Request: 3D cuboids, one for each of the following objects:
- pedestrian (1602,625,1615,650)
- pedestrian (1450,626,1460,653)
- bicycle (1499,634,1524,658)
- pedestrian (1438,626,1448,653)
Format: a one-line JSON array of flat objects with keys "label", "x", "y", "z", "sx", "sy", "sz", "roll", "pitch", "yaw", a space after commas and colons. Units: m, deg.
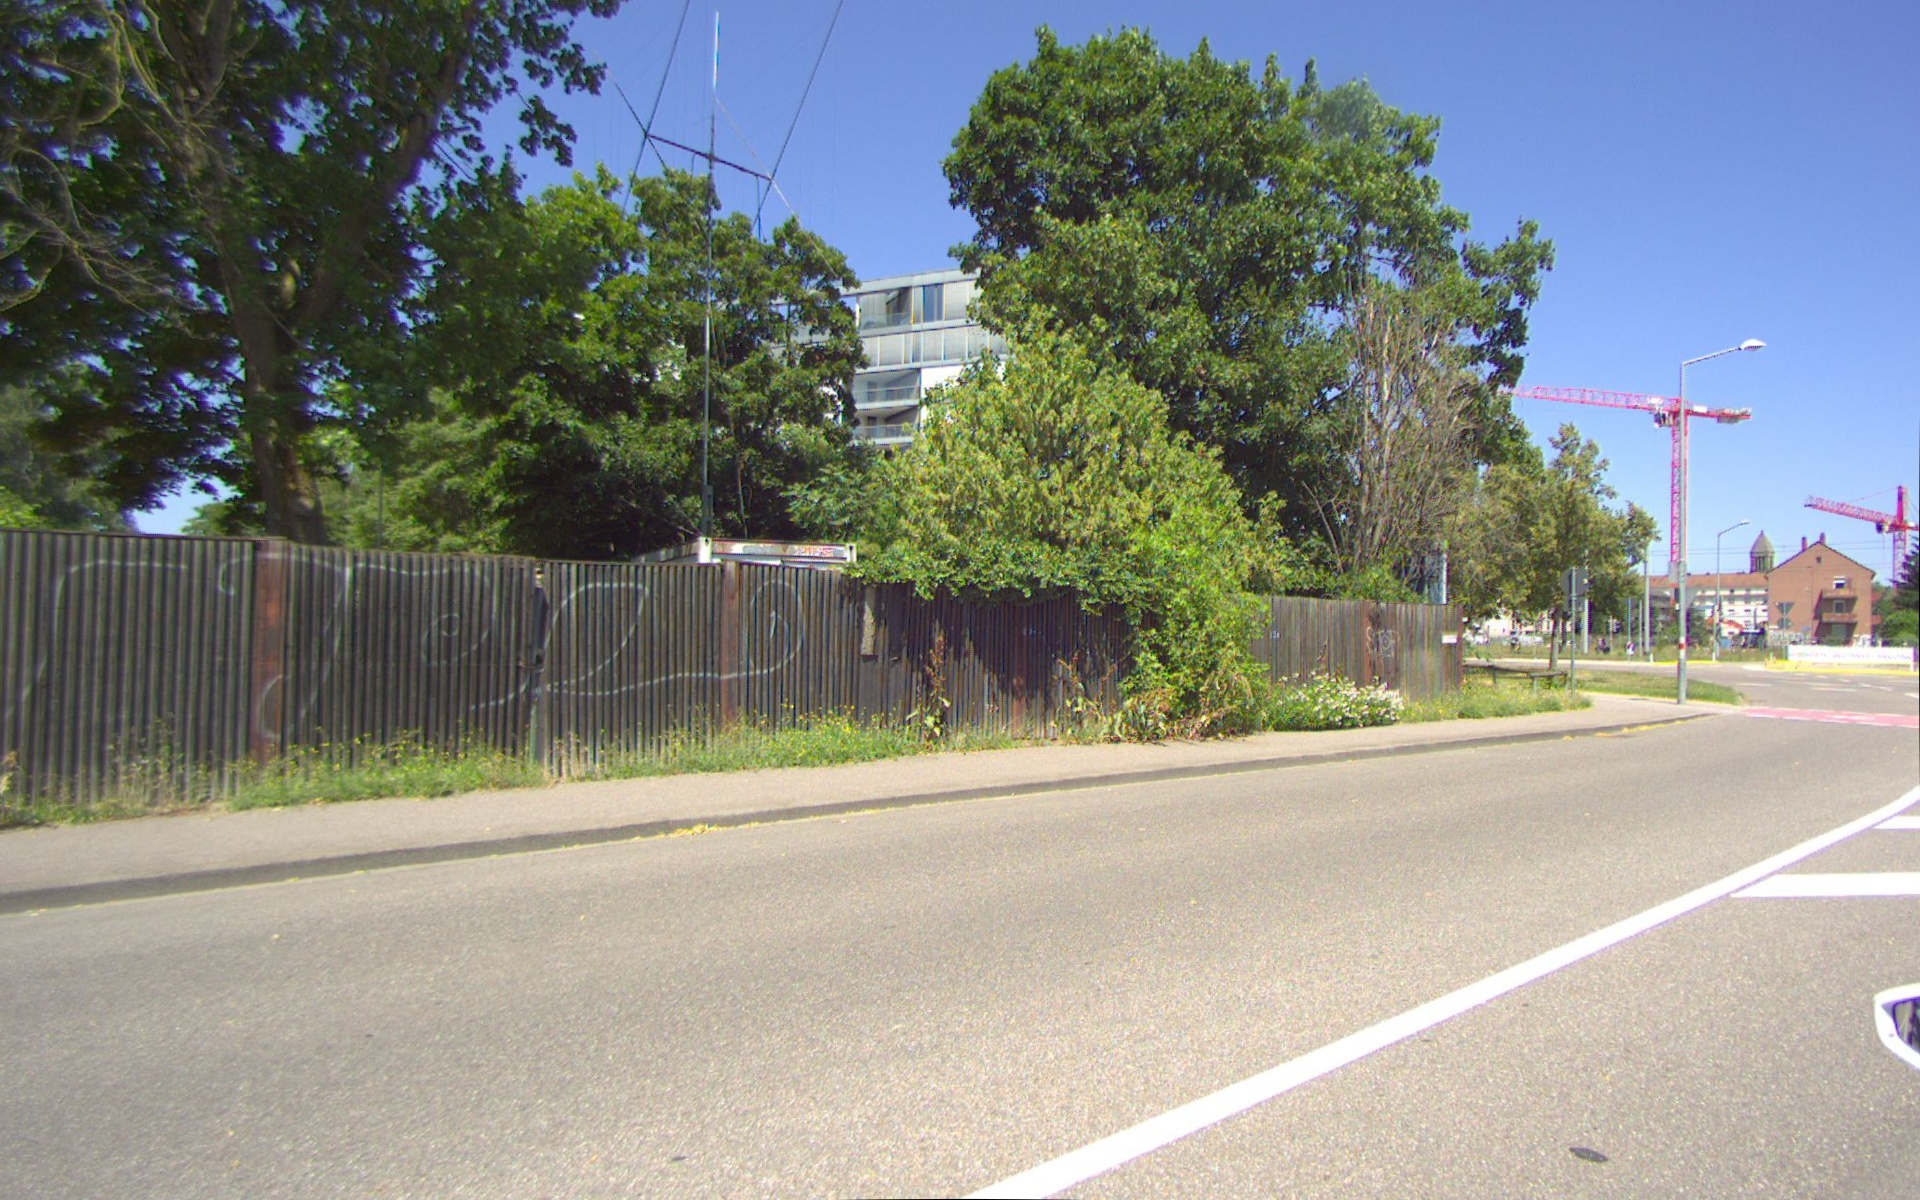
[{"label": "pedestrian", "x": 53.000, "y": 3.046, "z": 82.097, "sx": 0.588, "sy": 2.040, "sz": 0.598, "roll": 2, "pitch": 0, "yaw": -30}, {"label": "pedestrian", "x": 35.790, "y": 2.839, "z": 72.633, "sx": 0.617, "sy": 1.960, "sz": 0.646, "roll": 0, "pitch": -1, "yaw": 26}, {"label": "bicycle", "x": 41.860, "y": 3.482, "z": 76.222, "sx": 2.058, "sy": 1.707, "sz": 0.556, "roll": 2, "pitch": 0, "yaw": -25}, {"label": "pedestrian", "x": 34.912, "y": 2.828, "z": 72.576, "sx": 0.617, "sy": 1.960, "sz": 0.646, "roll": 0, "pitch": -1, "yaw": 26}]
